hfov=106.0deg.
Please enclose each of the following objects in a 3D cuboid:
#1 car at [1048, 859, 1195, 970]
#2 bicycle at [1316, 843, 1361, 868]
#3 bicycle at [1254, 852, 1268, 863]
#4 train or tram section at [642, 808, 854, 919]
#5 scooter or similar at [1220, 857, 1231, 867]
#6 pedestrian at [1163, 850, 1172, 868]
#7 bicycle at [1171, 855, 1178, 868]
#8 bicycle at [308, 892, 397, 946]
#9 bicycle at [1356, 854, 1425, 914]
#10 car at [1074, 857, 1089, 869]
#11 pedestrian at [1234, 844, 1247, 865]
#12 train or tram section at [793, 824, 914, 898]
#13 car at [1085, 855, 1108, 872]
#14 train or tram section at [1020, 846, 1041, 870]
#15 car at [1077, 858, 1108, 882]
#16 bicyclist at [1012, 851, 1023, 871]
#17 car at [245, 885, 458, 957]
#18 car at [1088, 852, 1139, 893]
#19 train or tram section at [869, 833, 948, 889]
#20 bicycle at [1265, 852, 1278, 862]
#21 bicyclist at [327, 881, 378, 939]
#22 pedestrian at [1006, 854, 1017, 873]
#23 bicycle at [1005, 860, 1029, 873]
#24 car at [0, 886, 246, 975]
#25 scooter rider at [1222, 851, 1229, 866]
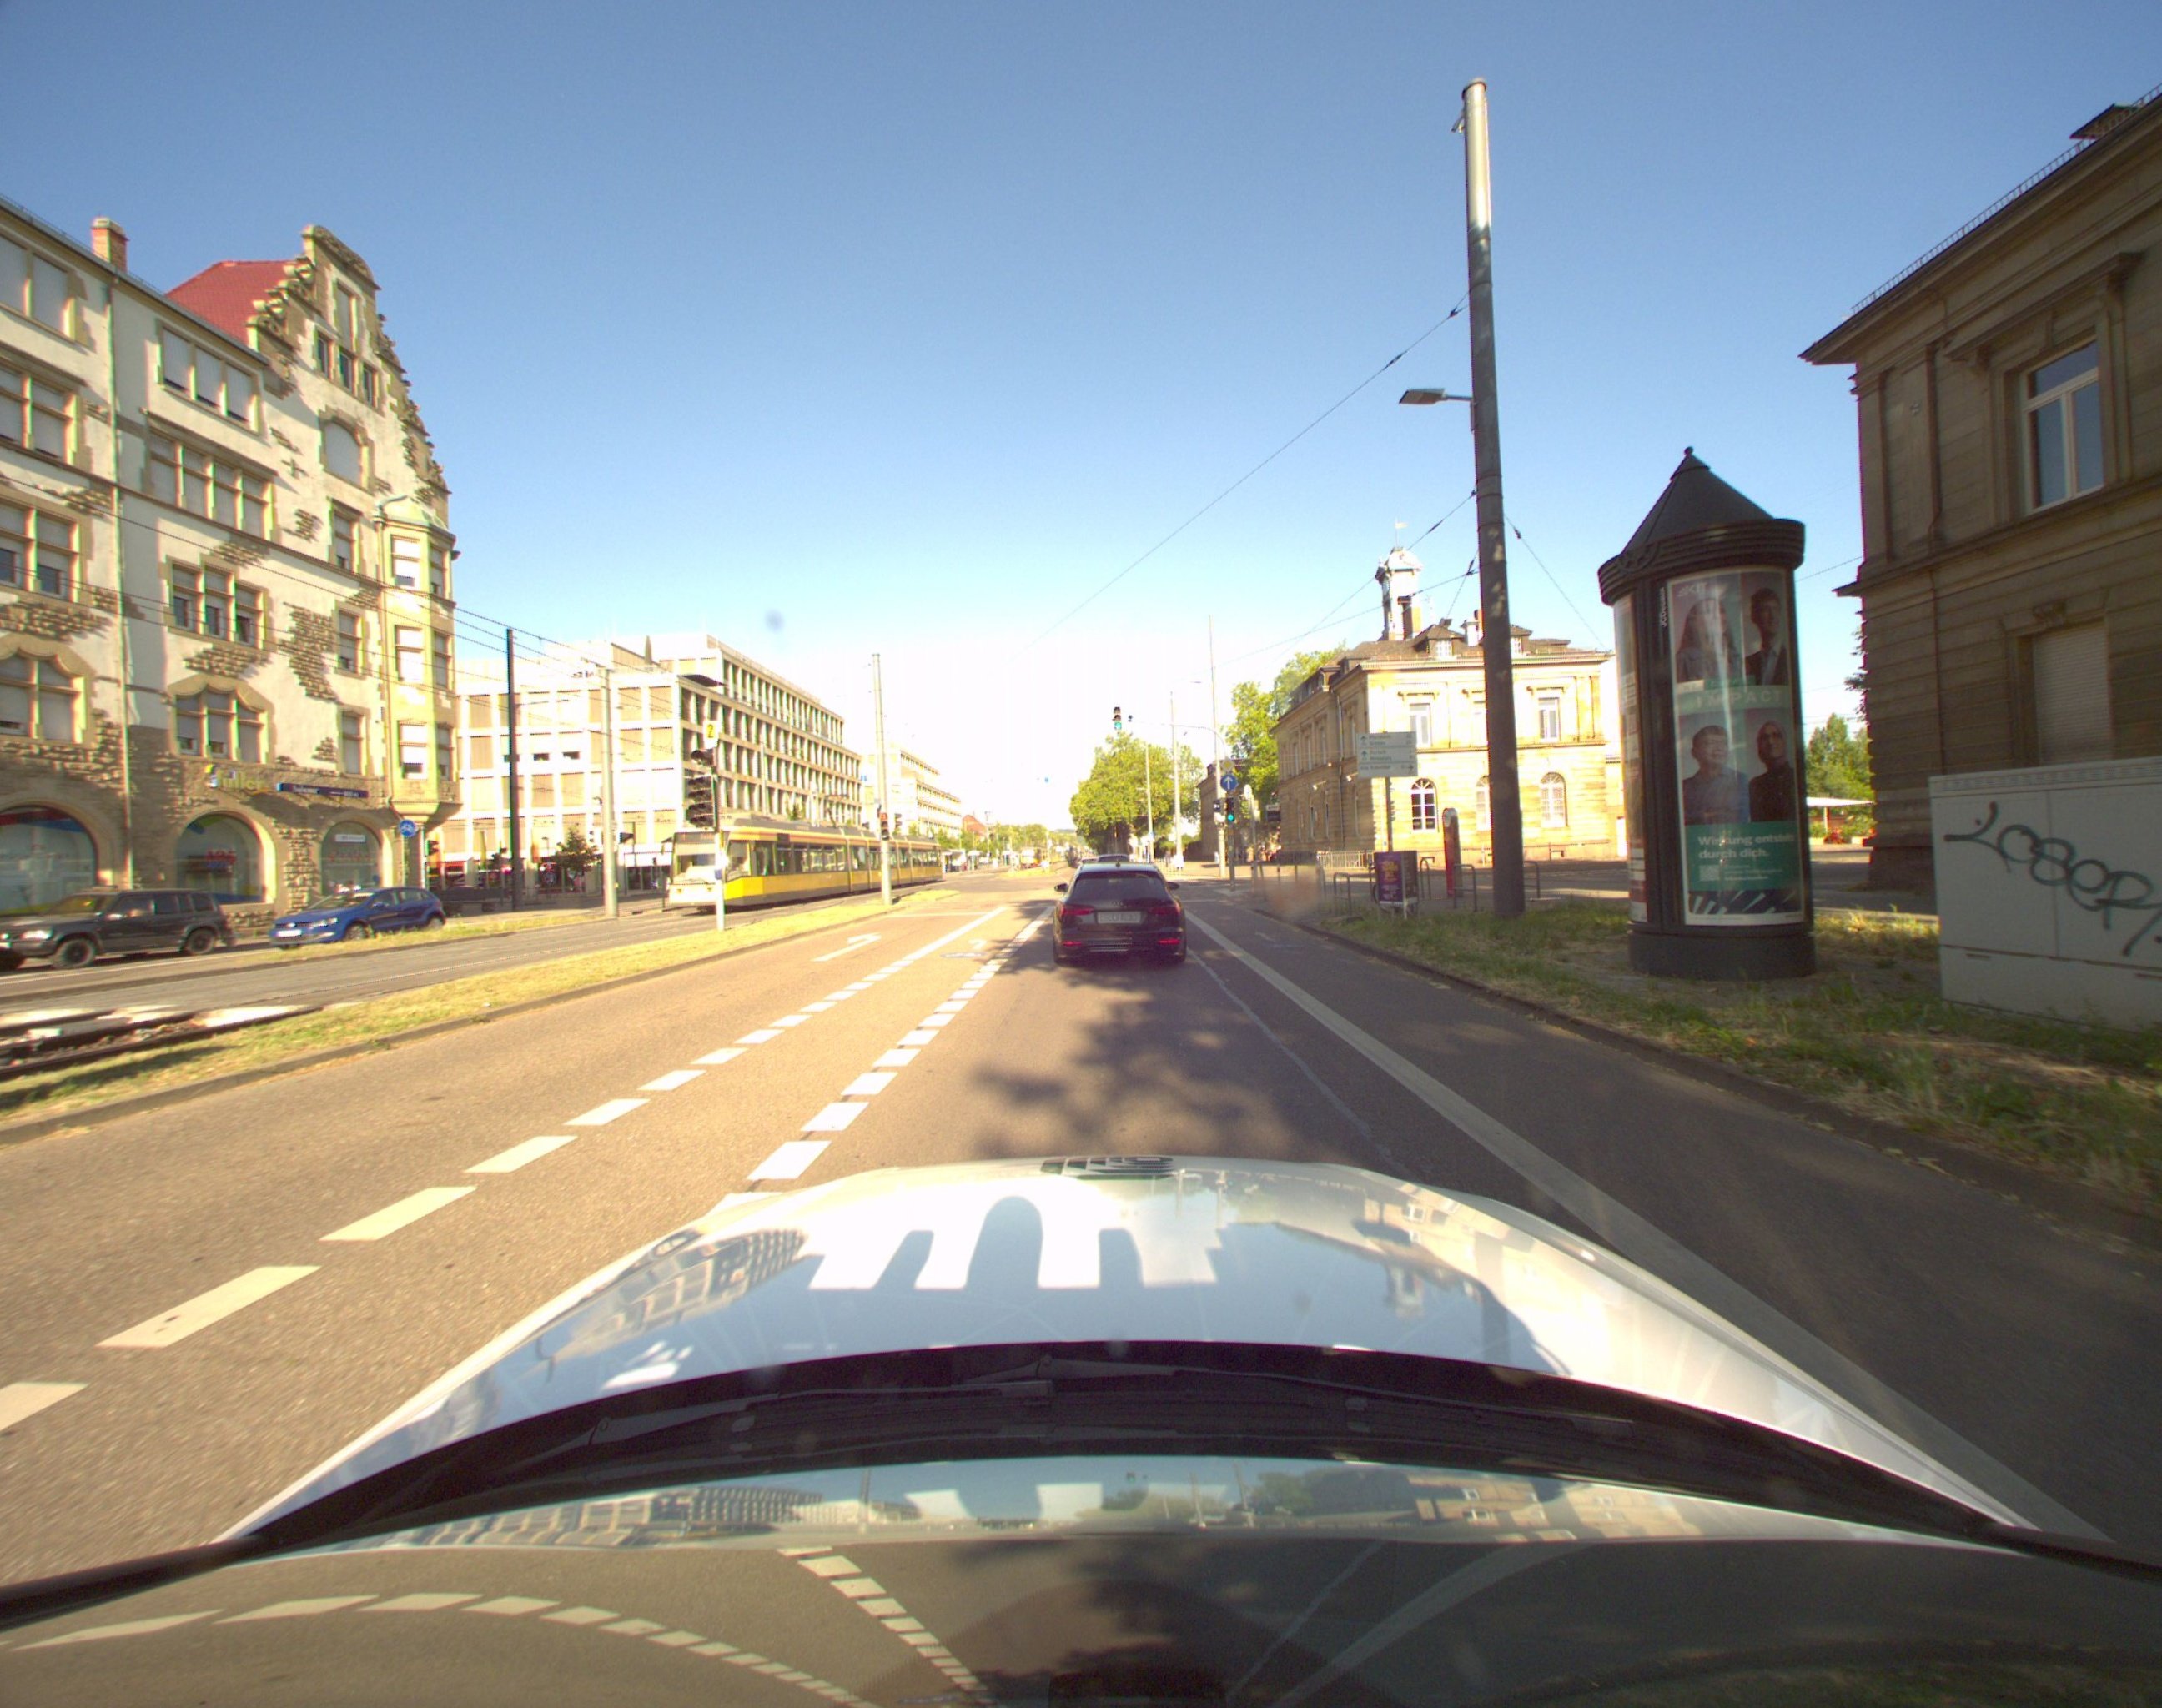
[{"bbox_3d":[0.576,0.800,12.677,1.896,1.422,4.145,-1,0,1],"label":"car"},{"bbox_3d":[14.141,0.077,44.723,2.131,1.209,0.765,-4,0,-2],"label":"bicycle"},{"bbox_3d":[18.426,0.349,83.412,0.525,1.047,2.353,-3,0,-7],"label":"bicycle"},{"bbox_3d":[-12.652,0.332,33.046,2.803,3.489,13.205,-3,0,1],"label":"train or tram section"},{"bbox_3d":[13.825,0.761,77.766,0.936,0.966,0.361,-4,-1,-2],"label":"scooter or similar"},{"bbox_3d":[8.124,0.505,76.629,0.680,1.660,0.758,-3,0,-1],"label":"pedestrian"},{"bbox_3d":[8.755,0.698,76.643,0.433,1.145,1.340,-3,0,-1],"label":"bicycle"},{"bbox_3d":[-20.858,1.833,23.377,0.682,1.382,1.948,-3,0,2],"label":"bicycle"},{"bbox_3d":[5.899,0.555,15.613,0.539,1.061,1.769,-3,0,-3],"label":"bicycle"},{"bbox_3d":[0.045,1.181,106.780,1.896,1.486,4.145,-1,0,1],"label":"car"},{"bbox_3d":[14.602,0.080,74.522,0.976,1.865,0.826,-3,0,-2],"label":"pedestrian"},{"bbox_3d":[-12.417,0.367,46.266,2.803,3.489,13.205,-3,0,1],"label":"train or tram section"},{"bbox_3d":[1.375,0.823,72.032,1.896,1.486,4.145,-1,0,1],"label":"car"},{"bbox_3d":[-7.886,0.570,127.731,2.601,3.451,11.127,-3,0,-1],"label":"train or tram section"},{"bbox_3d":[0.755,0.998,52.011,1.896,1.486,4.145,-1,0,1],"label":"car"},{"bbox_3d":[-5.879,0.664,75.083,0.759,1.818,0.759,-3,0,-20],"label":"bicyclist"},{"bbox_3d":[-18.517,1.624,20.979,1.816,1.457,4.152,-3,0,-3],"label":"car"},{"bbox_3d":[1.264,0.697,32.305,1.896,1.486,4.145,-1,0,1],"label":"car"},{"bbox_3d":[-12.205,0.466,58.944,2.803,3.489,12.155,-3,0,1],"label":"train or tram section"},{"bbox_3d":[19.487,0.325,83.387,0.525,1.047,2.353,-3,0,-7],"label":"bicycle"},{"bbox_3d":[-20.871,1.589,23.349,0.682,1.563,0.785,-3,-1,2],"label":"bicyclist"},{"bbox_3d":[-6.526,0.855,76.518,0.743,1.741,0.658,-3,0,-24],"label":"pedestrian"},{"bbox_3d":[-5.879,1.131,75.056,2.013,1.108,0.759,-3,0,-21],"label":"bicycle"},{"bbox_3d":[-22.462,1.676,18.971,1.712,1.675,4.215,0,0,-1],"label":"car"},{"bbox_3d":[13.812,0.417,77.778,0.483,1.385,0.377,-4,-2,-1],"label":"scooter rider"}]
